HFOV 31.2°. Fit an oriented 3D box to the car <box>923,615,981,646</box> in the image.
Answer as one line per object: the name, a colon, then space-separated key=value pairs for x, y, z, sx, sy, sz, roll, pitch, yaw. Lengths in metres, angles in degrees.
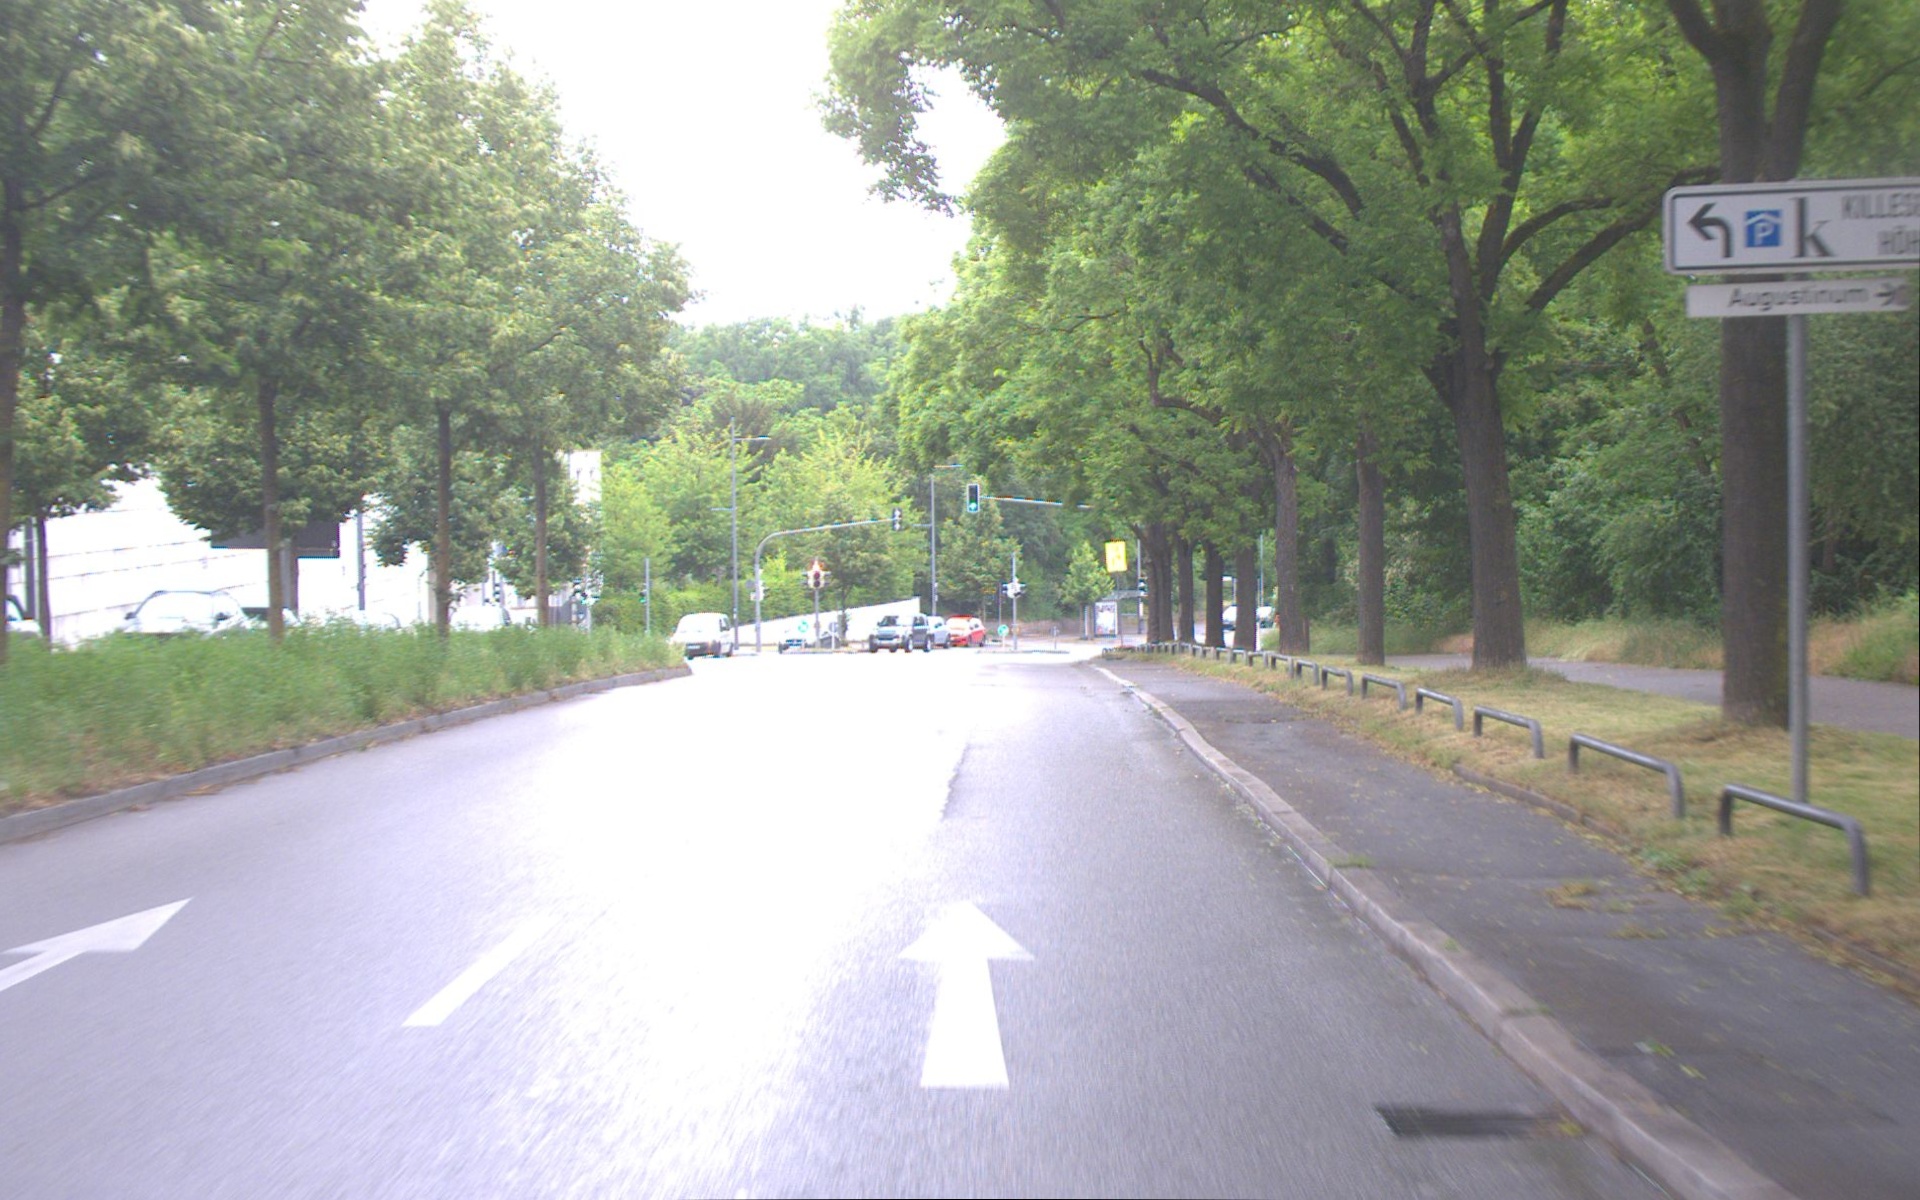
car: x=-0.416 y=1.608 z=181.897 sx=1.876 sy=1.569 sz=4.219 roll=2 pitch=0 yaw=16

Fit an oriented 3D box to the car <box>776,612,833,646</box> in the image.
car: x=-6.673 y=1.266 z=147.980 sx=1.770 sy=1.376 sz=4.189 roll=-2 pitch=-1 yaw=6

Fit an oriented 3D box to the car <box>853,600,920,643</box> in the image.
car: x=-3.454 y=1.018 z=162.369 sx=1.922 sy=1.851 sz=4.503 roll=-4 pitch=-1 yaw=14

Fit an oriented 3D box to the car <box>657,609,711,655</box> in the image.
car: x=-10.595 y=1.212 z=132.205 sx=1.710 sy=1.740 sz=4.338 roll=0 pitch=0 yaw=0

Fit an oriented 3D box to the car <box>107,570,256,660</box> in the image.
car: x=-14.435 y=0.314 z=63.958 sx=1.703 sy=1.615 sz=4.362 roll=0 pitch=-1 yaw=1

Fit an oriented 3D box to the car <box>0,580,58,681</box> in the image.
car: x=-14.720 y=0.451 z=50.577 sx=1.695 sy=1.439 sz=3.859 roll=-1 pitch=1 yaw=3
